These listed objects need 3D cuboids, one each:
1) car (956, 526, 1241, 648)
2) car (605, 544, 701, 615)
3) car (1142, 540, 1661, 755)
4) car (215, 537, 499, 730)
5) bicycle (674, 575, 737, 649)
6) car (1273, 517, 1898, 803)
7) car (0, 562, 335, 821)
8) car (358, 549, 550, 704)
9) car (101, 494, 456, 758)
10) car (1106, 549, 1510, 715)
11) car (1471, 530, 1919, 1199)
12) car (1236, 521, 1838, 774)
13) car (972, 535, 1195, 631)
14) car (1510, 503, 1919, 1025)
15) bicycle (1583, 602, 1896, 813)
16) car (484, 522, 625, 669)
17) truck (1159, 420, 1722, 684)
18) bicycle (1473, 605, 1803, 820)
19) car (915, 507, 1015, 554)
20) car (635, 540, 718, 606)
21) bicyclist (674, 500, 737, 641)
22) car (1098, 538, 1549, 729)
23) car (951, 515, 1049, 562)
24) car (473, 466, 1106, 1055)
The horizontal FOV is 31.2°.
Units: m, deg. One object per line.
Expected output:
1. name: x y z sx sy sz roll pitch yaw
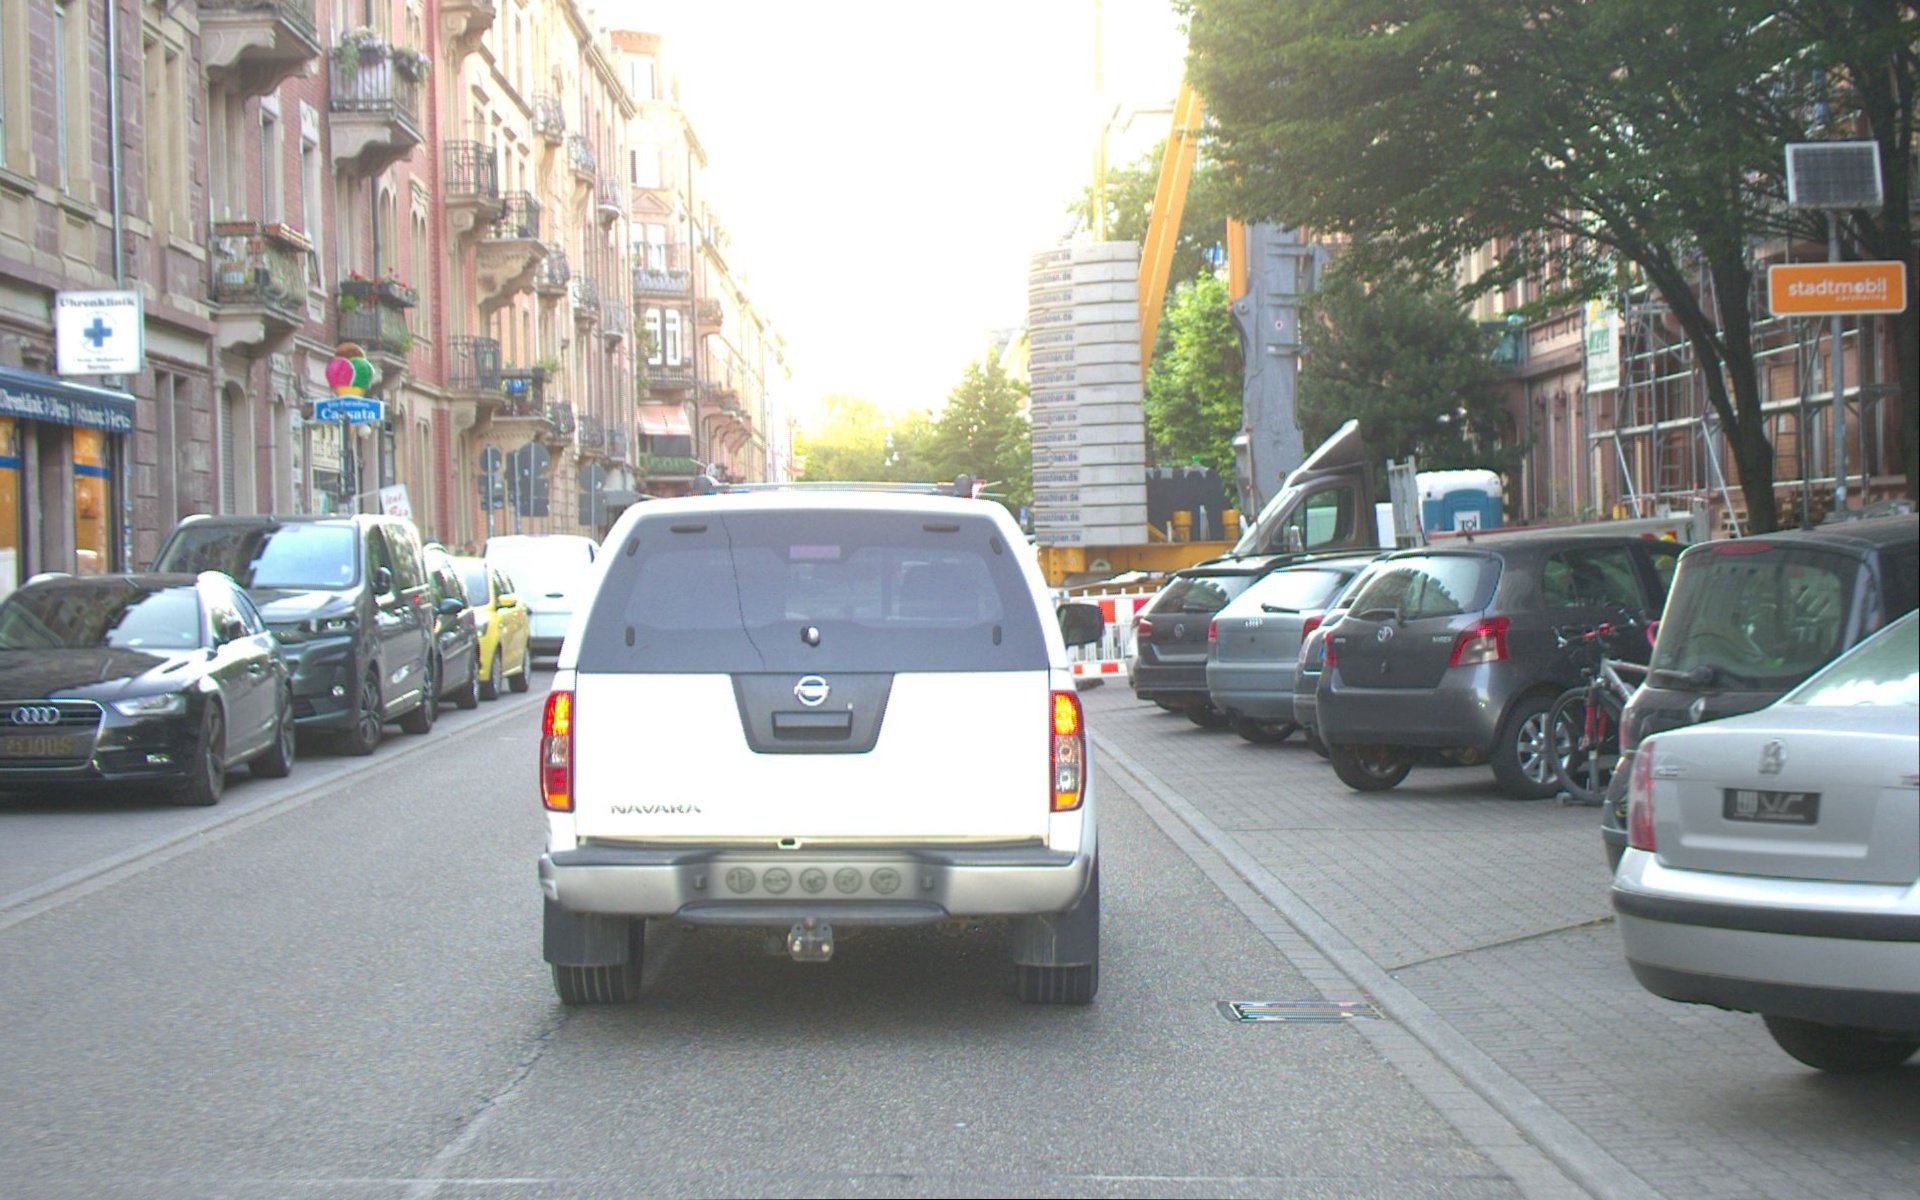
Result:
1. car: 2.116 -0.200 51.696 4.196 1.774 1.819 0 1 5
2. car: -6.770 -0.471 76.127 1.791 1.525 4.000 -1 1 -1
3. car: 3.508 0.326 27.072 3.826 1.432 1.762 -3 2 -35
4. car: -5.599 0.263 32.422 1.905 1.657 4.068 -1 1 0
5. bicycle: -3.379 0.144 45.792 0.800 0.944 2.005 -1 1 -3
6. car: 3.832 0.310 20.981 3.396 1.469 1.775 -4 2 -32
7. car: -5.324 0.503 22.007 1.911 1.467 4.534 0 1 -1
8. car: -5.538 0.245 37.996 1.499 1.588 3.856 -1 1 0
9. car: -5.356 0.156 27.669 1.904 1.919 4.947 0 1 -1
10. car: 3.306 0.268 32.522 3.548 1.459 1.611 -1 1 -32
11. car: 3.775 0.543 9.487 4.372 1.529 1.807 -2 1 -25
12. car: 4.085 0.298 24.296 3.824 1.525 1.763 -3 1 -26
13. car: 2.357 -0.327 65.783 4.195 1.774 1.819 0 1 2
14. car: 4.208 0.439 12.417 3.986 1.631 1.759 -3 1 -20
15. bicycle: 4.294 0.583 19.066 0.557 1.104 1.858 -1 -1 -30
16. car: -5.521 -0.090 47.115 1.559 1.914 3.856 1 1 -2
17. truck: 5.586 -0.524 40.672 6.320 2.966 2.264 0 -2 1
18. bicycle: 3.673 0.601 18.771 0.692 1.104 1.858 -1 -1 -30
19. car: 0.236 -3.225 159.732 4.588 2.170 1.819 0 1 2
20. car: -6.730 -0.655 81.818 1.710 1.525 4.000 -1 1 -1
21. bicyclist: -3.381 -0.399 45.749 0.800 1.843 0.944 -1 1 -3
22. car: 3.181 0.245 29.665 3.882 1.525 1.637 -1 1 -40
23. car: 1.913 -2.912 163.358 4.588 2.170 1.819 0 1 2
24. car: -0.452 0.454 12.847 1.933 1.788 4.622 0 1 2
